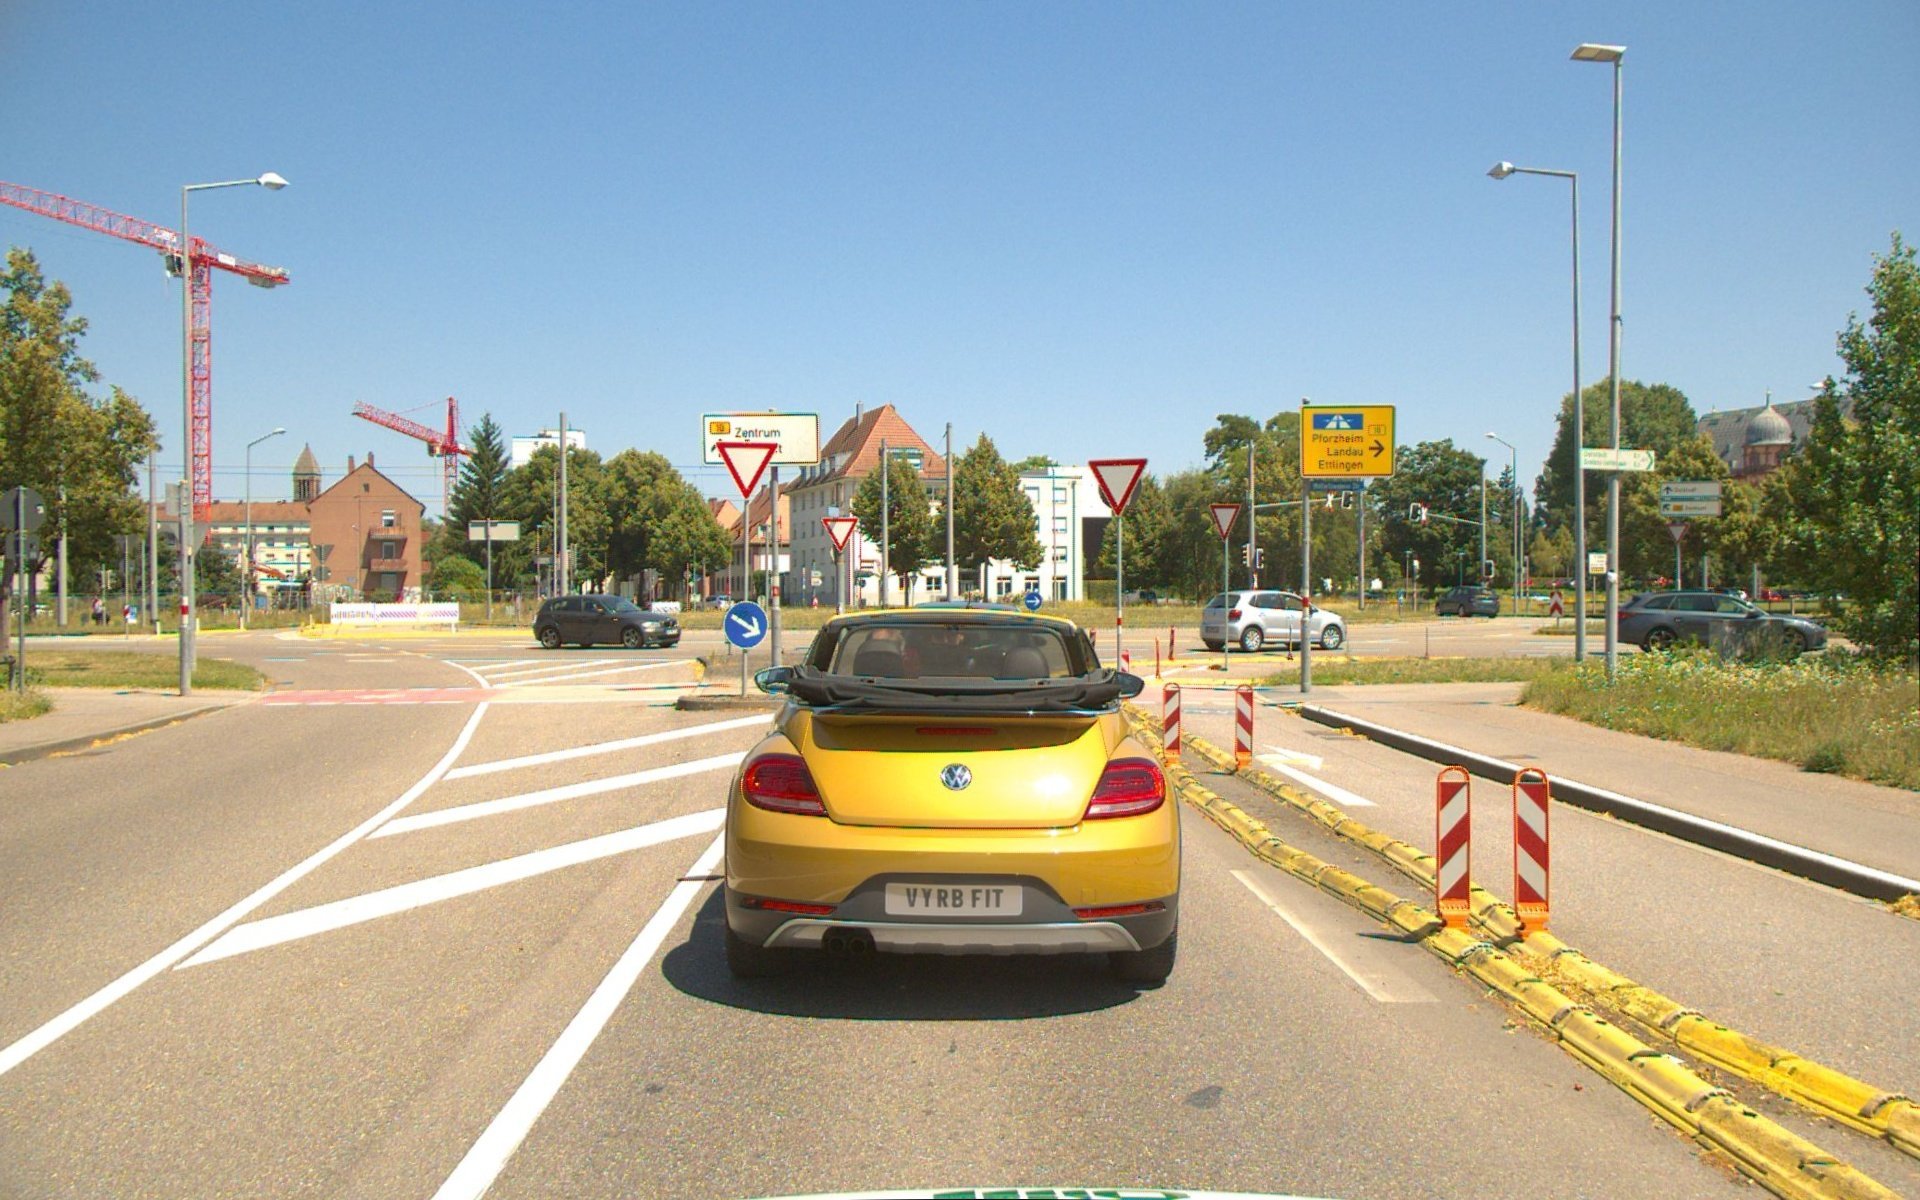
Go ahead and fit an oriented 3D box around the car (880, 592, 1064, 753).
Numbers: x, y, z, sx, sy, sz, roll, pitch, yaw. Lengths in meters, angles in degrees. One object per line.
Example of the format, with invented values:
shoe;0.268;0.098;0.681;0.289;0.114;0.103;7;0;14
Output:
car;0.140;0.684;17.847;1.760;1.465;4.001;0;1;1

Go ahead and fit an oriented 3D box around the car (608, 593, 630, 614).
car;-34.185;0.388;165.716;1.959;2.049;3.986;1;0;-13

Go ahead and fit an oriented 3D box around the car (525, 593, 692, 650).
car;-9.316;0.551;43.861;3.982;1.427;1.754;0;1;19

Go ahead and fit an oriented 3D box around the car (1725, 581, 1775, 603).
car;74.321;-0.755;155.552;3.923;2.049;1.991;1;0;38

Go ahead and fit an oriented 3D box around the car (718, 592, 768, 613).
car;-17.706;0.204;135.320;3.909;1.646;1.998;1;0;-5

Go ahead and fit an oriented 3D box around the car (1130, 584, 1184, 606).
car;15.730;-0.408;132.127;3.918;1.713;1.993;1;0;-13

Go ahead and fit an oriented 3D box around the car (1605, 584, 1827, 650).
car;17.115;0.379;37.687;4.347;1.443;2.001;-1;0;17

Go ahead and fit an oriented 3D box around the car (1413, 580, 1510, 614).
car;22.882;-0.156;75.614;1.974;1.490;3.956;1;0;-32

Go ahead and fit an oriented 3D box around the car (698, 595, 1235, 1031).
car;-0.002;0.712;7.373;1.788;1.427;3.661;1;0;-1

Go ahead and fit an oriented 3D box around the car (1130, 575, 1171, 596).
car;19.510;-1.481;169.361;3.902;2.049;2.001;1;0;14

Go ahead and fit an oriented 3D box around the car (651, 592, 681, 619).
car;-22.377;0.416;125.784;1.959;2.049;3.986;1;0;-13

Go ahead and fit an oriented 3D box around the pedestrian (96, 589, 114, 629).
pedestrian;-44.633;0.461;86.373;0.589;2.049;0.594;1;-1;-1

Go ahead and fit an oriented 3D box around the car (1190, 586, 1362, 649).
car;7.778;0.405;40.655;3.940;1.447;1.766;-1;0;-27
